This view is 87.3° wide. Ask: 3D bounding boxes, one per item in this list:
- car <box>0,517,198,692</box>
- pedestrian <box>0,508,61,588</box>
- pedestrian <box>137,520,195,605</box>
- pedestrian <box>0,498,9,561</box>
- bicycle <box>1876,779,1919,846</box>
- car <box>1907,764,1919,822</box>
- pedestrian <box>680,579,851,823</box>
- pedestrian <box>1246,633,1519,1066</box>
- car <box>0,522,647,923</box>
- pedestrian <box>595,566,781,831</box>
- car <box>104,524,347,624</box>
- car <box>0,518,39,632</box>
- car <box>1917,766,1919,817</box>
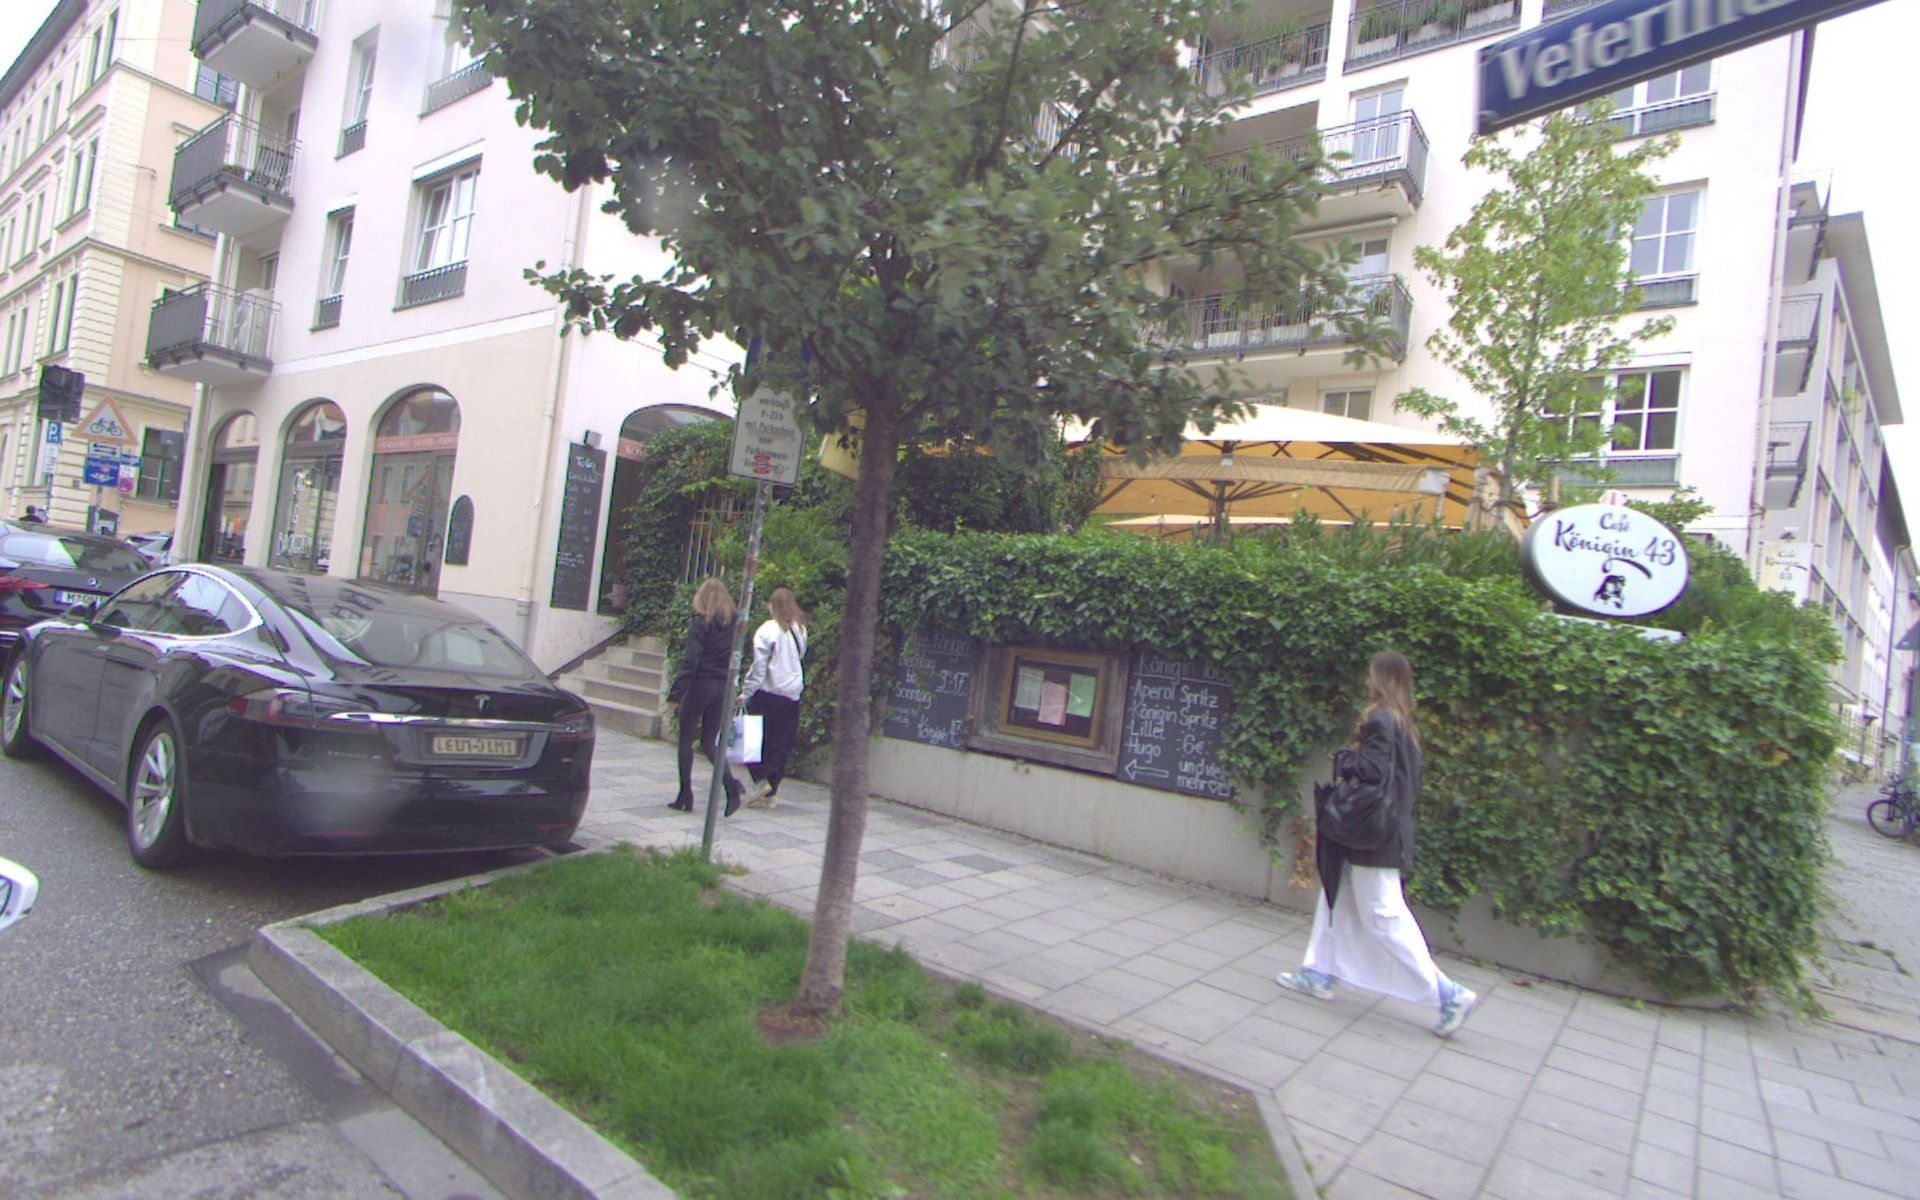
[{"bbox_3d":[-10.011,-0.110,10.747,4.440,1.439,1.649,6,-5,37],"label":"car"},{"bbox_3d":[-21.755,-1.213,23.546,0.989,1.736,0.719,4,-3,37],"label":"pedestrian"},{"bbox_3d":[-16.364,-0.769,20.736,0.518,1.665,0.635,5,-3,30],"label":"pedestrian"},{"bbox_3d":[-26.048,-1.927,26.850,0.965,1.639,0.659,4,-3,37],"label":"pedestrian"},{"bbox_3d":[17.530,3.921,18.658,0.480,1.065,2.177,7,-2,37],"label":"bicycle"},{"bbox_3d":[28.404,5.562,28.509,1.958,1.577,4.699,0,-7,39],"label":"car"},{"bbox_3d":[-1.464,0.742,7.593,0.867,1.680,0.705,4,-3,37],"label":"pedestrian"},{"bbox_3d":[1.899,1.025,4.506,0.867,1.641,0.705,4,-3,37],"label":"pedestrian"},{"bbox_3d":[-4.102,0.486,6.074,4.587,1.426,1.804,6,-4,38],"label":"car"},{"bbox_3d":[-1.892,0.660,7.016,0.867,1.680,0.705,4,-3,37],"label":"pedestrian"},{"bbox_3d":[-16.841,-0.539,23.263,1.728,1.624,4.092,8,-2,36],"label":"car"},{"bbox_3d":[-14.478,-0.602,13.865,4.138,1.439,1.679,6,-5,36],"label":"car"},{"bbox_3d":[32.226,6.271,32.431,1.938,1.577,4.589,0,-8,44],"label":"car"}]
